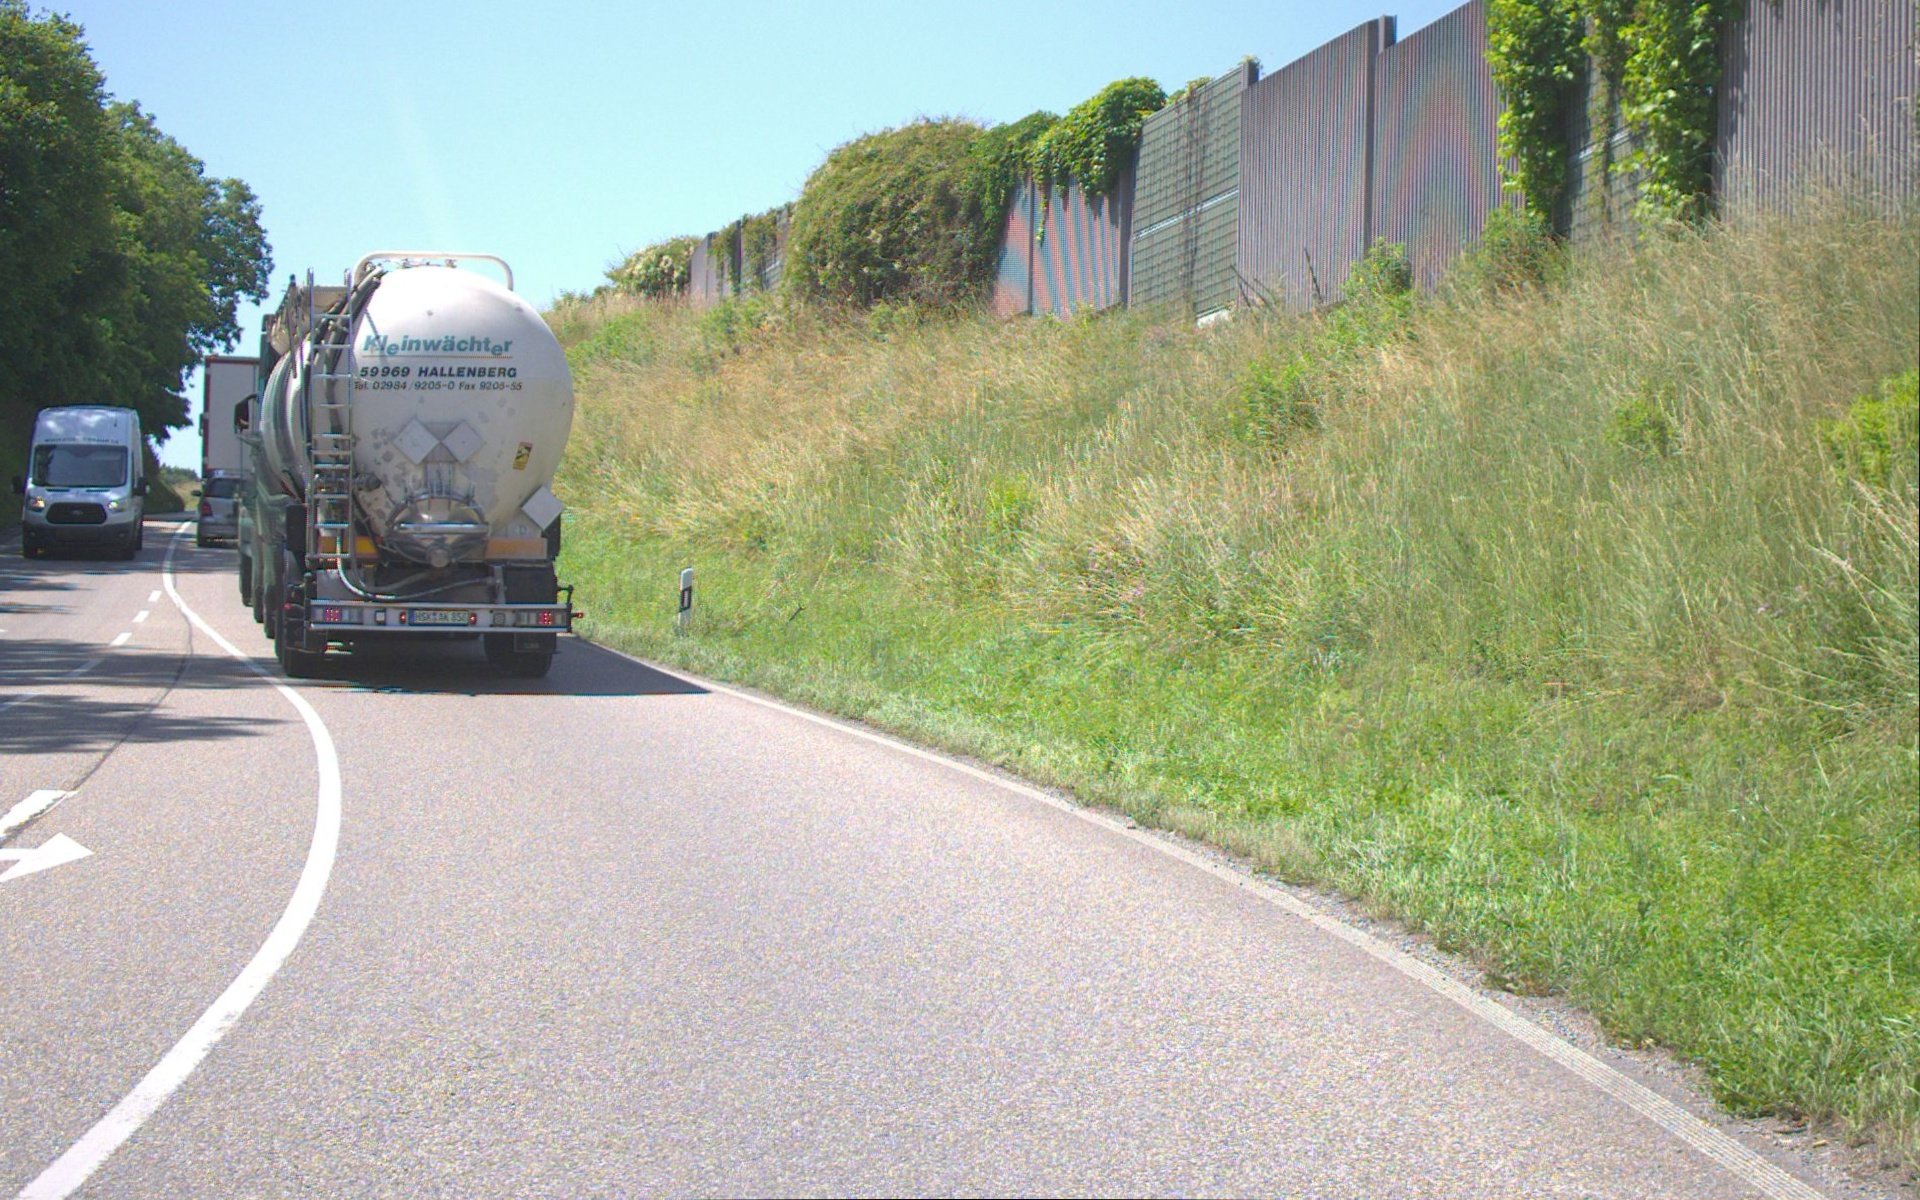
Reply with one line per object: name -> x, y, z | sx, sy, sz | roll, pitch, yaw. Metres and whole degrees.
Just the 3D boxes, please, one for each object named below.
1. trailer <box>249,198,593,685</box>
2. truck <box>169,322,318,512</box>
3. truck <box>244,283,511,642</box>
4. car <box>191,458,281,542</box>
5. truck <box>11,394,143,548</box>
trailer -> -5.892, -1.556, 35.787 | 2.660, 4.174, 11.908 | 1, 2, -13
truck -> -18.213, -4.616, 87.446 | 3.189, 4.294, 11.805 | 4, 2, -12
truck -> -7.164, -1.562, 41.509 | 2.726, 3.916, 7.265 | 1, 1, -13
car -> -14.717, -2.051, 69.804 | 1.647, 1.504, 3.640 | 1, 4, -14
truck -> -16.490, -2.476, 64.445 | 2.052, 2.677, 5.984 | 2, 3, -12
